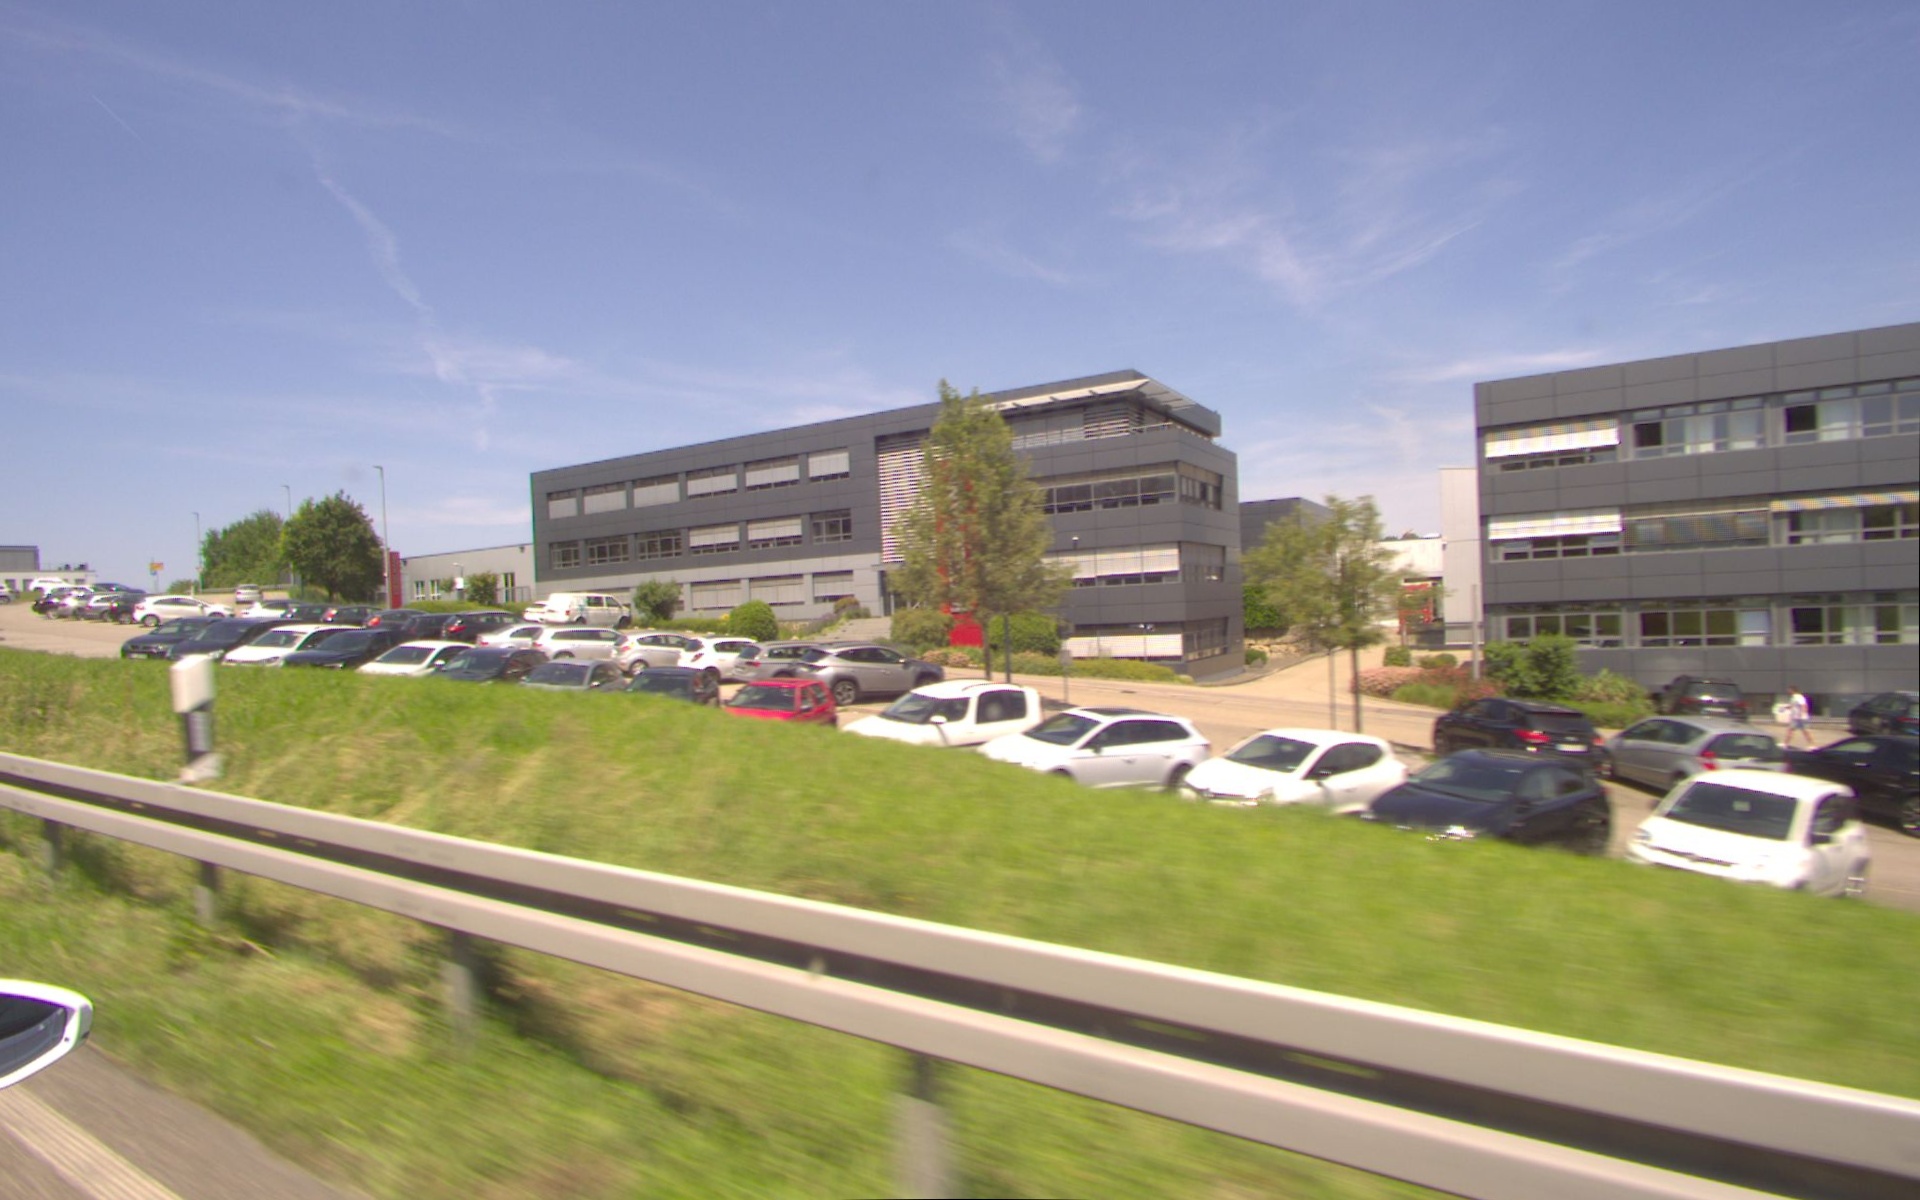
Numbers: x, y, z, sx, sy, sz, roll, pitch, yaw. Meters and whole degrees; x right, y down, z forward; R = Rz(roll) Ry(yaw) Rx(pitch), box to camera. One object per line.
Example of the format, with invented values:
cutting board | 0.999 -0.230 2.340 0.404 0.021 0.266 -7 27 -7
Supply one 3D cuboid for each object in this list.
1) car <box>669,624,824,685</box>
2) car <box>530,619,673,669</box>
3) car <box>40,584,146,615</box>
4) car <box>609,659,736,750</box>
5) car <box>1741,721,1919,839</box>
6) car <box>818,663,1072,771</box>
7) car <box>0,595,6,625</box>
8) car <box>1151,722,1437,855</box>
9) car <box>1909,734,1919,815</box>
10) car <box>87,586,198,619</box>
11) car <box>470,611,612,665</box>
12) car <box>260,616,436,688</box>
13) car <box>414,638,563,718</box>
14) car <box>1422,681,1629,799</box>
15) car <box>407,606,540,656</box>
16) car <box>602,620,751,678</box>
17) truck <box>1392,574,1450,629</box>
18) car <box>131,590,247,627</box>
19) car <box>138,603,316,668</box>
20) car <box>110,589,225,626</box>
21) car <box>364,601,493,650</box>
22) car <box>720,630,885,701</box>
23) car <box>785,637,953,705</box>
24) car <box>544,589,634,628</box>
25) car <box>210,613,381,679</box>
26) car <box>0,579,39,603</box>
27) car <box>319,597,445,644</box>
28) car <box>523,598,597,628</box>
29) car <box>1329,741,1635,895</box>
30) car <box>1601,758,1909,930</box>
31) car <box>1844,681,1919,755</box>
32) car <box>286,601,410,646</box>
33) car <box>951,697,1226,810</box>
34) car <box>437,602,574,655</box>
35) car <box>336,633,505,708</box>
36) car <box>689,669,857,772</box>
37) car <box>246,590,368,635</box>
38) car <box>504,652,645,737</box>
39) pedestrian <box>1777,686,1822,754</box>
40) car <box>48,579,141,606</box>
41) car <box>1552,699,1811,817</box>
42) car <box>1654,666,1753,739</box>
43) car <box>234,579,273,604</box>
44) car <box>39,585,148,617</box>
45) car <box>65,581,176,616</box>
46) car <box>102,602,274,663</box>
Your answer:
car | -6.905 1.745 32.492 4.527 1.651 1.807 2 4 -33
car | -12.599 1.509 35.253 4.519 1.541 1.810 1 3 -28
car | -50.852 0.013 58.860 4.533 1.649 1.807 2 -2 -38
car | -6.380 2.279 22.741 1.852 1.706 4.380 4 -3 -5
car | 16.931 3.291 18.066 1.786 1.533 4.585 4 0 -4
car | -0.198 2.178 18.646 4.410 1.706 1.874 6 -4 -37
car | -46.021 0.348 46.319 3.652 1.370 1.625 2 -3 28
car | 5.145 2.776 15.229 4.325 1.578 1.875 6 -4 -35
car | 19.524 3.451 17.263 1.785 1.533 4.585 4 0 -1
car | -43.429 0.160 53.337 4.533 1.650 1.806 1 -1 -38
car | -15.425 1.403 36.976 4.528 1.648 1.810 6 -4 -32
car | -16.677 1.453 27.597 1.851 1.706 4.381 4 -3 3
car | -11.567 1.883 24.936 1.852 1.706 4.380 4 -3 -5
car | 11.754 2.844 21.189 1.785 1.651 4.238 4 2 -1
car | -19.422 1.257 40.051 4.528 1.648 1.810 6 -4 -32
car | -9.583 1.610 34.010 4.524 1.499 1.807 -2 5 -33
truck | 40.255 0.272 87.145 3.187 4.299 13.845 2 -1 30
car | -38.625 0.464 50.290 4.534 1.649 1.806 3 -2 -38
car | -21.823 1.123 30.086 1.851 1.706 4.381 4 -3 3
car | -40.780 0.410 51.678 4.535 1.649 1.806 4 -2 -38
car | -22.070 1.087 41.624 4.528 1.648 1.810 6 -4 -32
car | -4.803 2.032 30.711 4.530 1.651 1.807 6 5 -33
car | -2.589 1.972 28.919 4.526 1.651 1.808 1 3 -33
car | -20.372 0.435 55.165 1.794 1.976 4.562 2 1 32
car | -19.482 1.390 29.645 1.851 1.706 4.381 4 -3 3
car | -71.967 -0.696 74.915 1.851 1.708 4.376 4 0 3
car | -24.935 0.922 43.274 4.528 1.648 1.810 6 -4 -32
car | -22.751 0.715 57.072 1.660 1.610 3.654 2 1 32
car | 7.168 2.818 13.602 4.325 1.578 1.875 6 -4 -35
car | 10.048 2.884 12.563 4.325 1.578 1.850 6 -4 -35
car | 27.469 3.387 28.835 1.791 1.594 4.569 3 2 26
car | -27.169 1.071 44.556 4.528 1.648 1.810 6 -4 -32
car | 2.215 2.578 16.972 4.318 1.578 1.879 6 -3 -30
car | -17.380 1.113 38.372 4.528 1.648 1.810 6 -4 -32
car | -14.225 1.863 26.741 1.851 1.706 4.381 4 -3 3
car | -3.619 2.328 20.326 1.852 1.706 4.380 3 -3 10
car | -30.015 0.605 46.203 4.528 1.648 1.810 6 -4 -32
car | -8.947 2.145 23.641 1.852 1.706 4.380 4 -3 -5
pedestrian | 22.858 3.250 27.265 0.816 1.744 0.632 2 -3 32
car | -60.387 -0.496 69.957 4.514 1.649 1.814 1 -2 -24
car | 14.407 3.084 20.404 1.785 1.560 4.585 4 0 -1
car | 22.794 3.065 30.870 1.792 1.670 4.565 3 2 29
car | -52.728 -0.621 74.748 1.785 1.683 3.984 1 -2 -27
car | -48.768 0.098 56.510 4.533 1.649 1.807 1 -3 -38
car | -45.951 -0.049 54.934 4.535 1.649 1.806 4 -2 -38
car | -24.674 1.098 32.251 1.851 1.706 4.381 4 -3 3
